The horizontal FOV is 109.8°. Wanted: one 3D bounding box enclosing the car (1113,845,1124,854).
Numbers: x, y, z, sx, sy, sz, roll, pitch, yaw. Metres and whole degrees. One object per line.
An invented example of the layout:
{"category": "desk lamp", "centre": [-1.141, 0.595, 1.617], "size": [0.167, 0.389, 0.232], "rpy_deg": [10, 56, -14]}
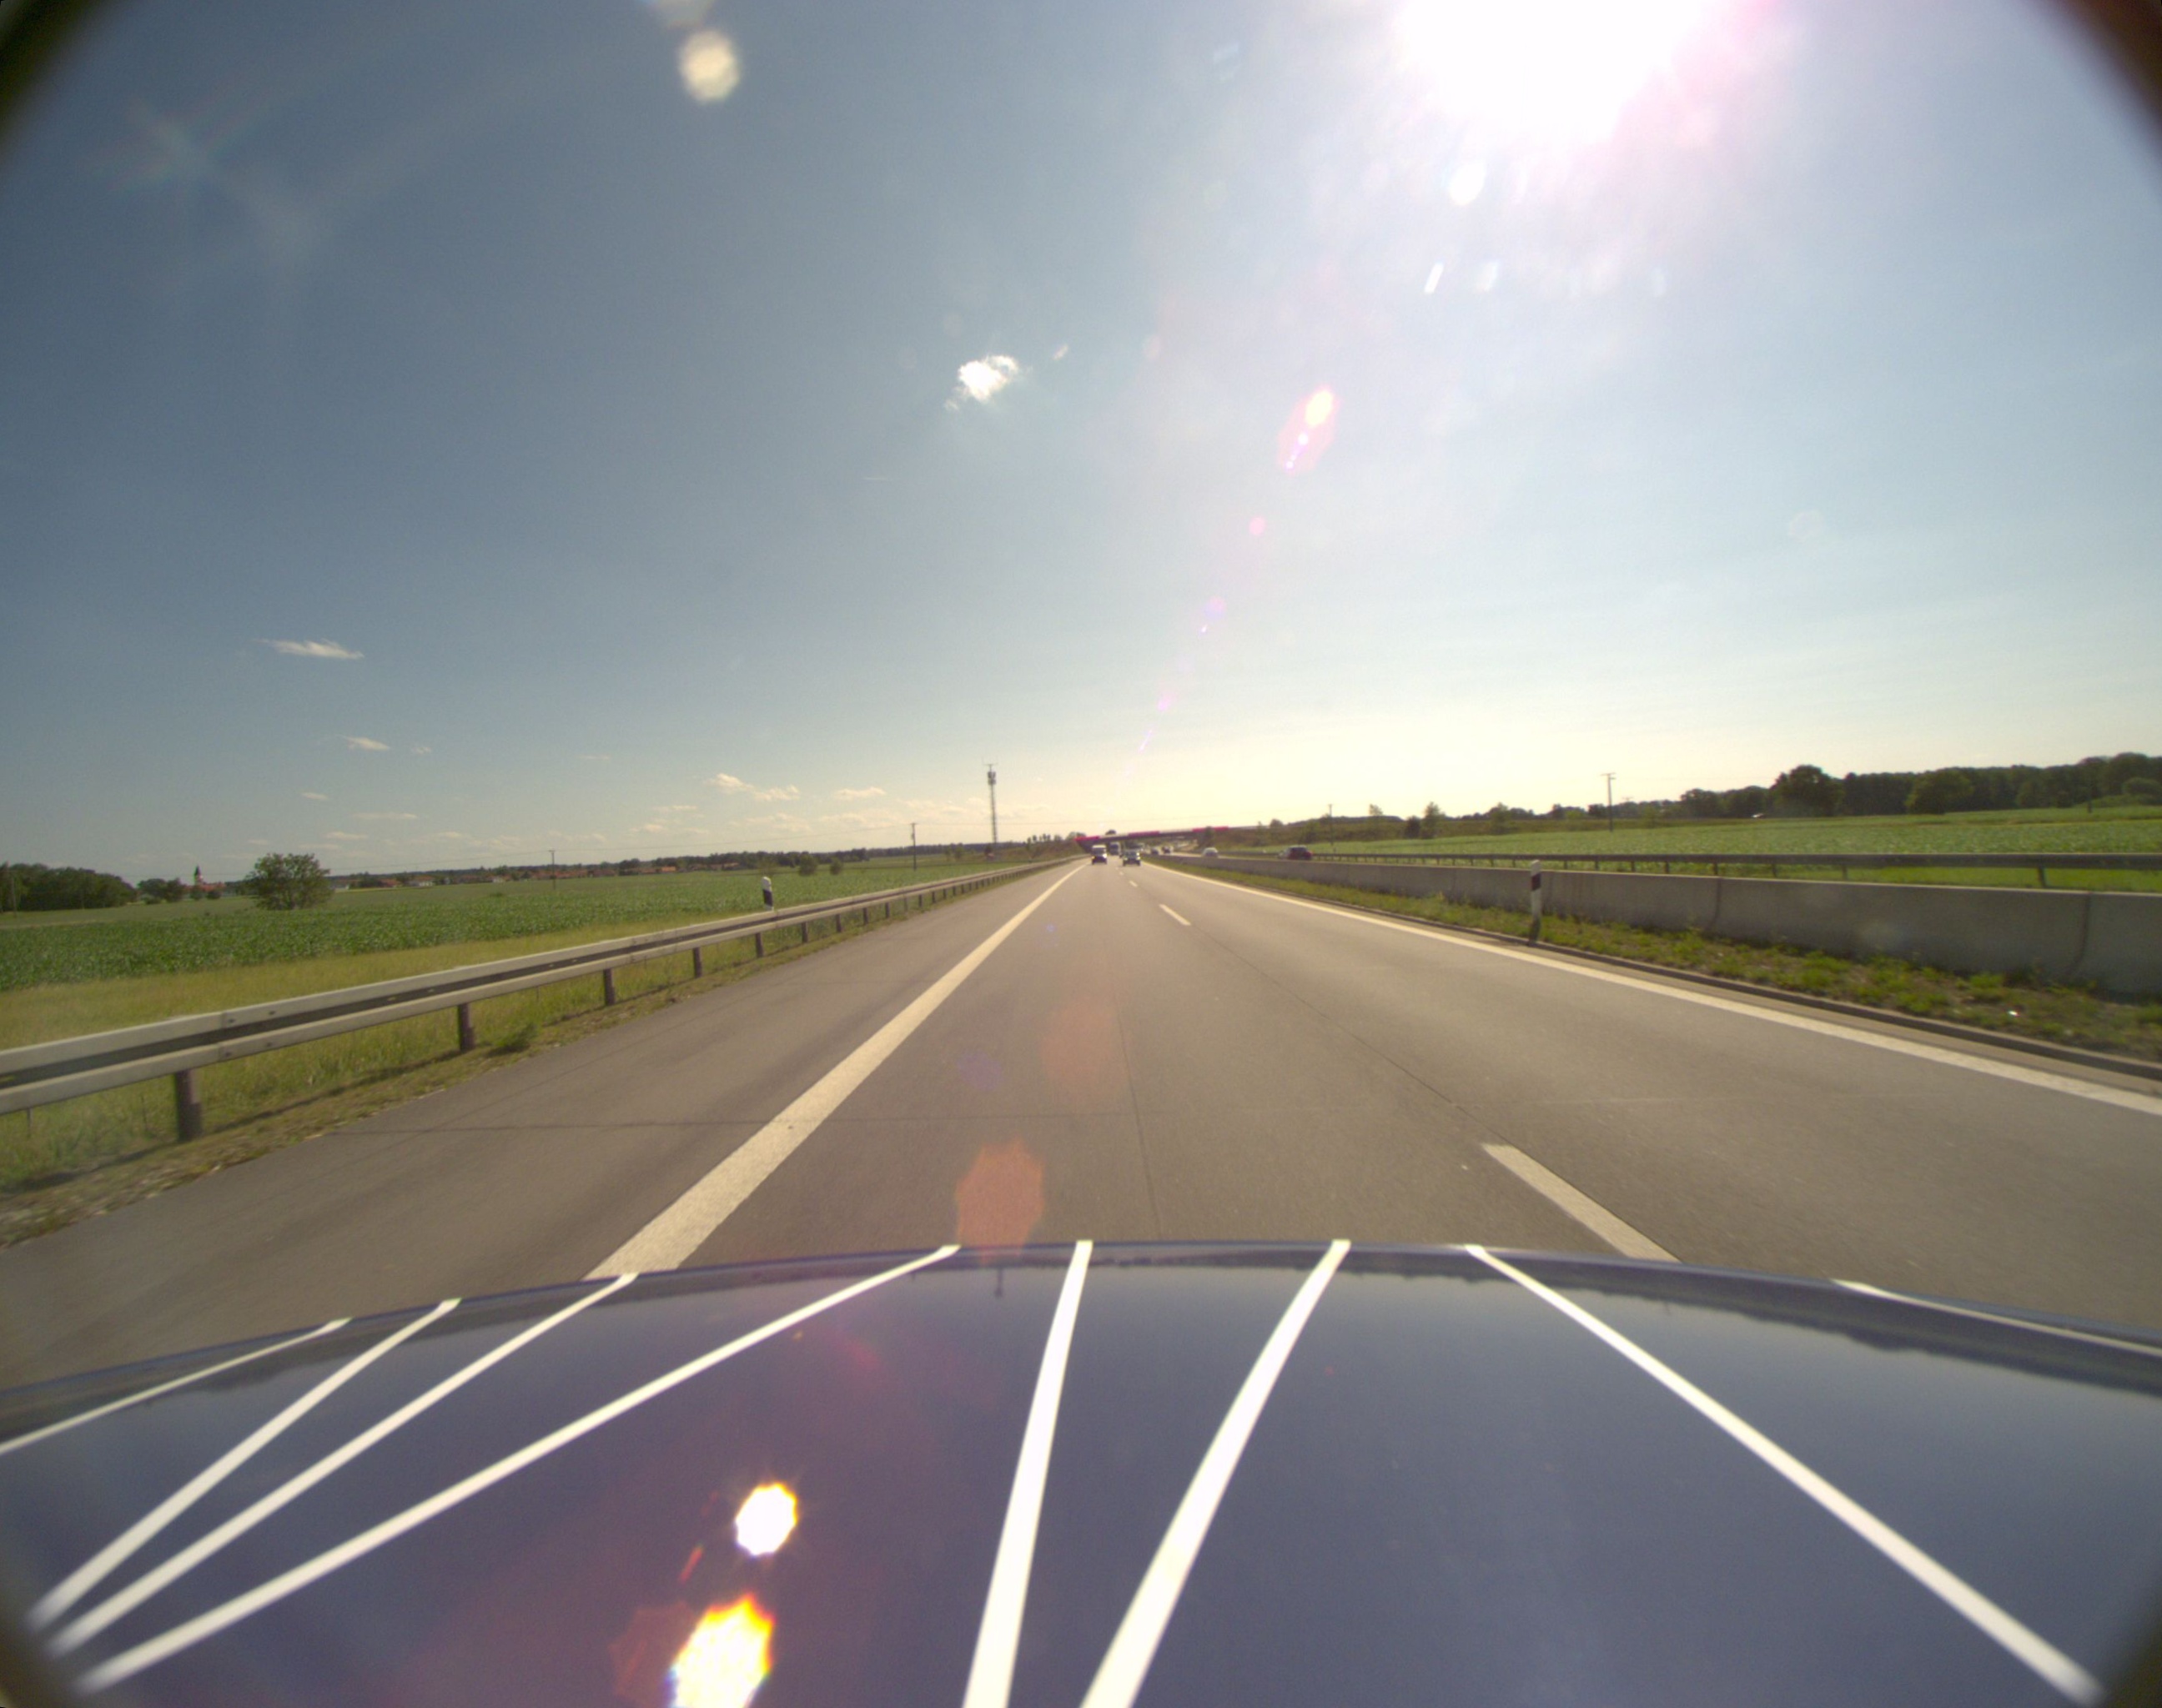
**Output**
{"category": "car", "centre": [7.851, -0.971, 159.071], "size": [2.030, 1.600, 4.819], "rpy_deg": [-3, 0, 1]}

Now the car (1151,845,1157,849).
{"category": "car", "centre": [24.223, -2.302, 252.719], "size": [1.827, 1.357, 5.198], "rpy_deg": [-1, 0, 3]}

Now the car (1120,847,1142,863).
{"category": "car", "centre": [5.337, 0.093, 81.249], "size": [2.030, 1.600, 4.817], "rpy_deg": [-3, 1, 0]}

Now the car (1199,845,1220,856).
{"category": "car", "centre": [16.819, -0.399, 99.760], "size": [1.827, 1.357, 5.295], "rpy_deg": [-1, 0, 1]}

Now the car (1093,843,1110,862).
{"category": "car", "centre": [2.604, -0.238, 96.380], "size": [2.030, 2.225, 4.817], "rpy_deg": [-2, 1, 1]}

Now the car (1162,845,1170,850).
{"category": "car", "centre": [23.465, -1.796, 209.424], "size": [1.827, 1.357, 4.664], "rpy_deg": [-1, 0, 3]}

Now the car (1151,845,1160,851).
{"category": "car", "centre": [18.341, -1.460, 186.732], "size": [1.827, 1.357, 4.660], "rpy_deg": [-1, 0, 1]}

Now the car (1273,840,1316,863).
{"category": "car", "centre": [16.171, -0.200, 57.726], "size": [1.863, 1.575, 4.914], "rpy_deg": [-1, 0, 0]}

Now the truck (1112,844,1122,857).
{"category": "truck", "centre": [10.912, -1.177, 233.170], "size": [2.762, 3.793, 7.517], "rpy_deg": [-3, 1, 3]}
